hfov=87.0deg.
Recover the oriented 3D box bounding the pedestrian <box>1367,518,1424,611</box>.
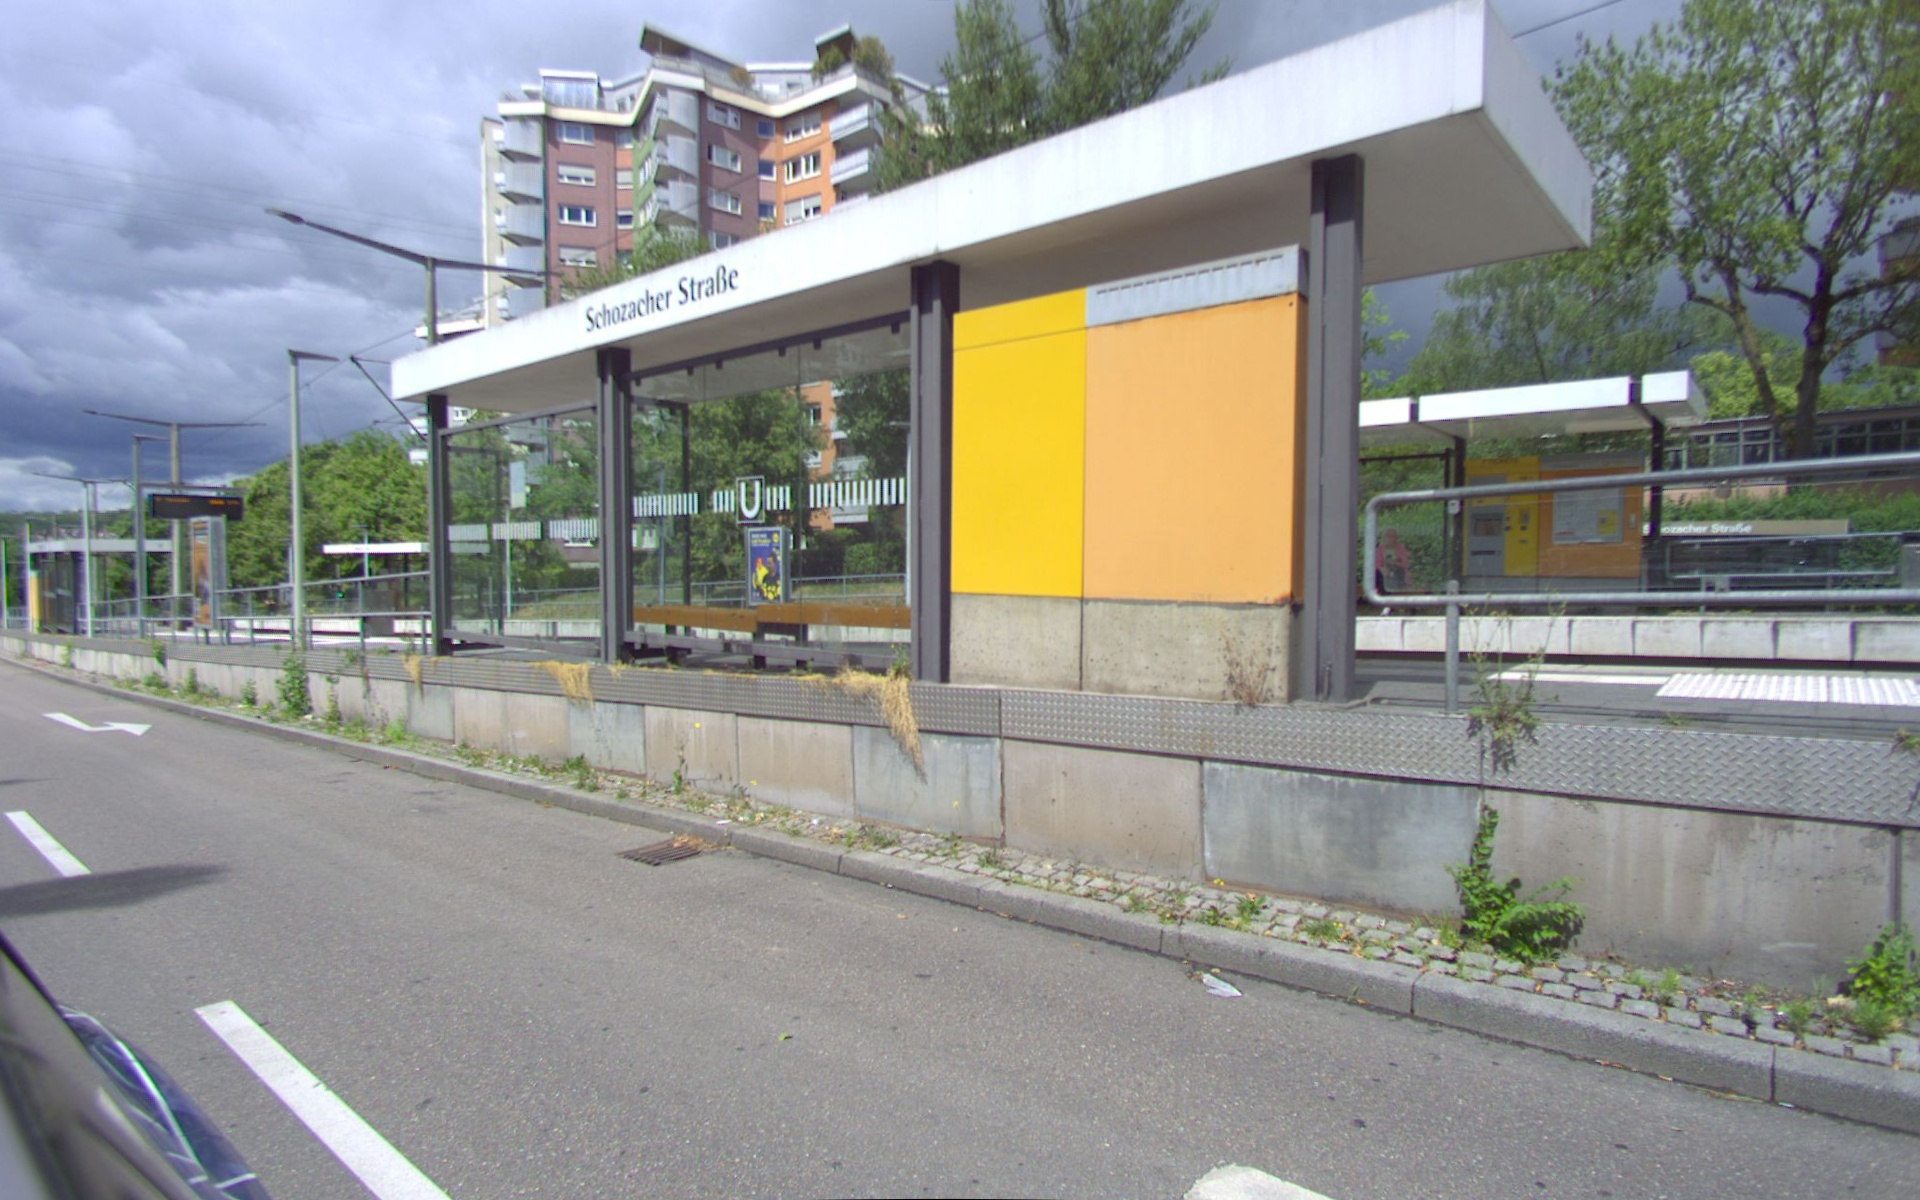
[{"bbox_3d":[6.061,-0.473,14.079,0.517,1.246,0.734,-1,-1,41],"label":"pedestrian"}]

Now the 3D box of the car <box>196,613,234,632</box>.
[{"bbox_3d":[-57.860,1.747,78.565,3.999,1.429,1.637,-1,0,42],"label":"car"}]

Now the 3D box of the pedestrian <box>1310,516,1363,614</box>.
[{"bbox_3d":[5.444,-0.490,14.625,0.506,1.379,0.637,-1,-1,41],"label":"pedestrian"}]
